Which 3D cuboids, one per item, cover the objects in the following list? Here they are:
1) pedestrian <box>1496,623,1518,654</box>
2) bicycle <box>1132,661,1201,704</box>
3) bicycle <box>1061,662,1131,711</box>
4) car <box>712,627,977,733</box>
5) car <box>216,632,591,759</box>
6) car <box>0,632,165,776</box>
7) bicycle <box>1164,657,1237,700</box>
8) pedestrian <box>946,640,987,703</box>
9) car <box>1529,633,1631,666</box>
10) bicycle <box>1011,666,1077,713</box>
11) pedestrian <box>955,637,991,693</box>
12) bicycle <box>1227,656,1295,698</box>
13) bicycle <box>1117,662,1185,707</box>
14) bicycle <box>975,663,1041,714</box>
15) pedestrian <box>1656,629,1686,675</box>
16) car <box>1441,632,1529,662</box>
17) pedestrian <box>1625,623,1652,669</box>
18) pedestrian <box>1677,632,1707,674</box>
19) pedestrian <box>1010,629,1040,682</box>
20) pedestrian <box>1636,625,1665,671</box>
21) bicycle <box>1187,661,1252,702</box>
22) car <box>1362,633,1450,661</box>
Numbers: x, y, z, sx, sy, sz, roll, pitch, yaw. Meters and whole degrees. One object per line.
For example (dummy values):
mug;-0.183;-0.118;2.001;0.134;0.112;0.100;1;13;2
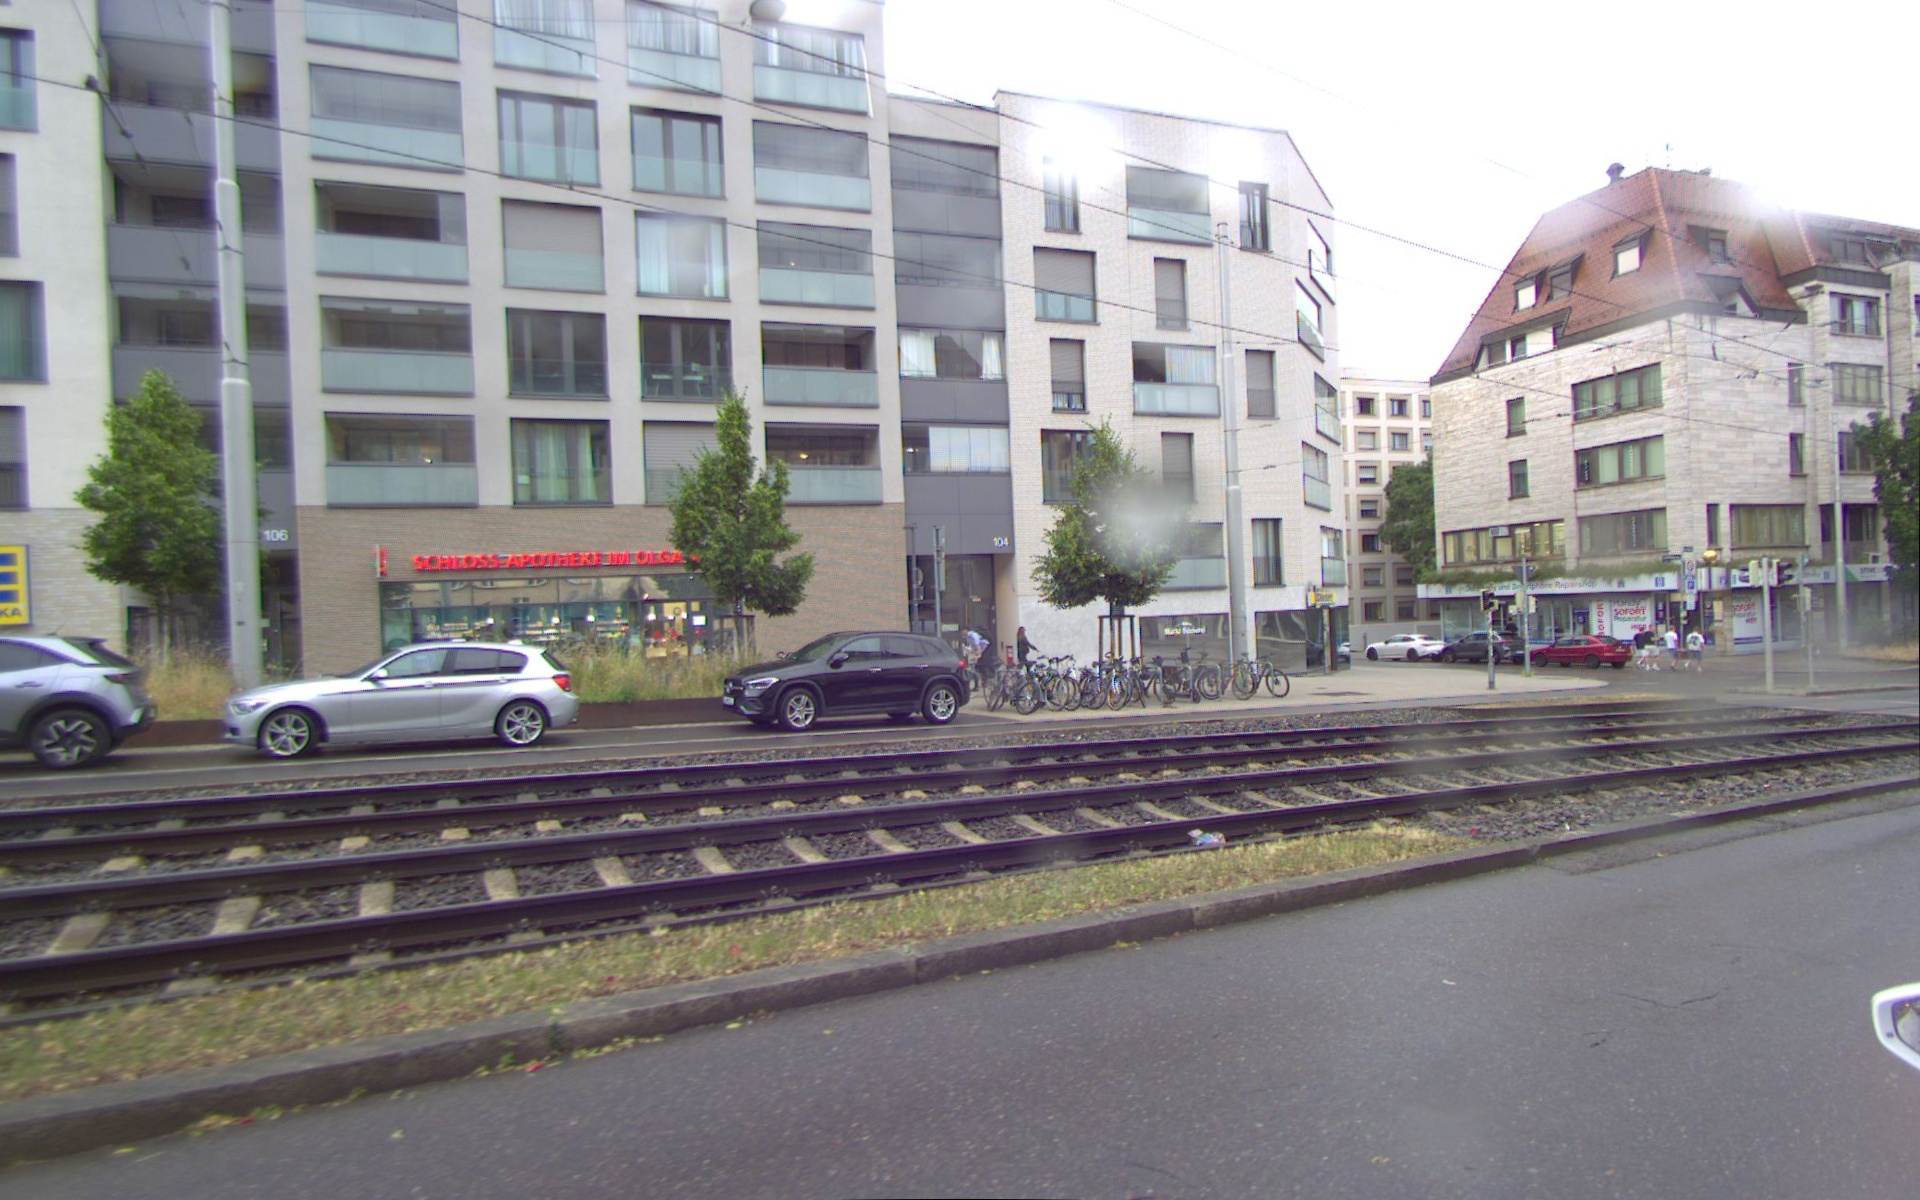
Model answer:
pedestrian;27.808;1.952;51.091;0.640;1.569;0.680;1;0;-21
bicycle;4.848;1.929;23.695;0.384;0.930;1.770;1;-2;-38
bicycle;2.883;1.829;21.440;0.383;0.930;1.772;1;-1;-34
car;-1.951;1.311;17.447;4.280;1.625;1.671;2;-1;-31
car;-7.502;1.219;13.885;4.280;1.484;1.671;2;-1;-31
car;-11.649;1.158;11.381;4.010;1.550;1.669;2;-1;-35
bicycle;5.837;1.894;24.453;1.764;0.930;0.385;1;0;44
pedestrian;0.145;1.707;24.046;0.790;1.468;0.656;1;0;-18
car;26.686;2.121;43.377;1.567;1.335;3.695;1;-2;-15
bicycle;1.747;1.867;21.213;0.383;0.929;1.773;1;-3;-34
pedestrian;0.347;1.754;27.099;0.790;1.468;0.539;1;0;-18
bicycle;7.541;1.916;25.256;0.436;0.993;1.773;1;-2;-34
bicycle;4.336;1.904;22.924;0.383;0.930;1.773;1;-2;-34
bicycle;0.965;1.807;20.711;0.383;0.930;1.773;1;-2;-34
pedestrian;27.627;2.014;39.049;0.674;1.747;0.646;1;0;-21
car;25.016;2.224;47.975;1.570;1.335;3.689;1;-2;-20
pedestrian;27.954;1.902;41.389;0.674;1.867;0.646;1;0;-21
pedestrian;27.822;1.999;38.182;0.674;1.569;0.646;1;0;-21
pedestrian;1.985;1.684;30.604;0.637;1.590;0.775;0;-1;33
pedestrian;27.436;1.903;39.888;0.674;1.772;0.646;1;0;-21
bicycle;6.389;2.000;24.837;0.383;0.888;1.774;1;-1;-31
car;23.319;2.450;52.731;1.570;1.335;4.482;1;-2;-20
